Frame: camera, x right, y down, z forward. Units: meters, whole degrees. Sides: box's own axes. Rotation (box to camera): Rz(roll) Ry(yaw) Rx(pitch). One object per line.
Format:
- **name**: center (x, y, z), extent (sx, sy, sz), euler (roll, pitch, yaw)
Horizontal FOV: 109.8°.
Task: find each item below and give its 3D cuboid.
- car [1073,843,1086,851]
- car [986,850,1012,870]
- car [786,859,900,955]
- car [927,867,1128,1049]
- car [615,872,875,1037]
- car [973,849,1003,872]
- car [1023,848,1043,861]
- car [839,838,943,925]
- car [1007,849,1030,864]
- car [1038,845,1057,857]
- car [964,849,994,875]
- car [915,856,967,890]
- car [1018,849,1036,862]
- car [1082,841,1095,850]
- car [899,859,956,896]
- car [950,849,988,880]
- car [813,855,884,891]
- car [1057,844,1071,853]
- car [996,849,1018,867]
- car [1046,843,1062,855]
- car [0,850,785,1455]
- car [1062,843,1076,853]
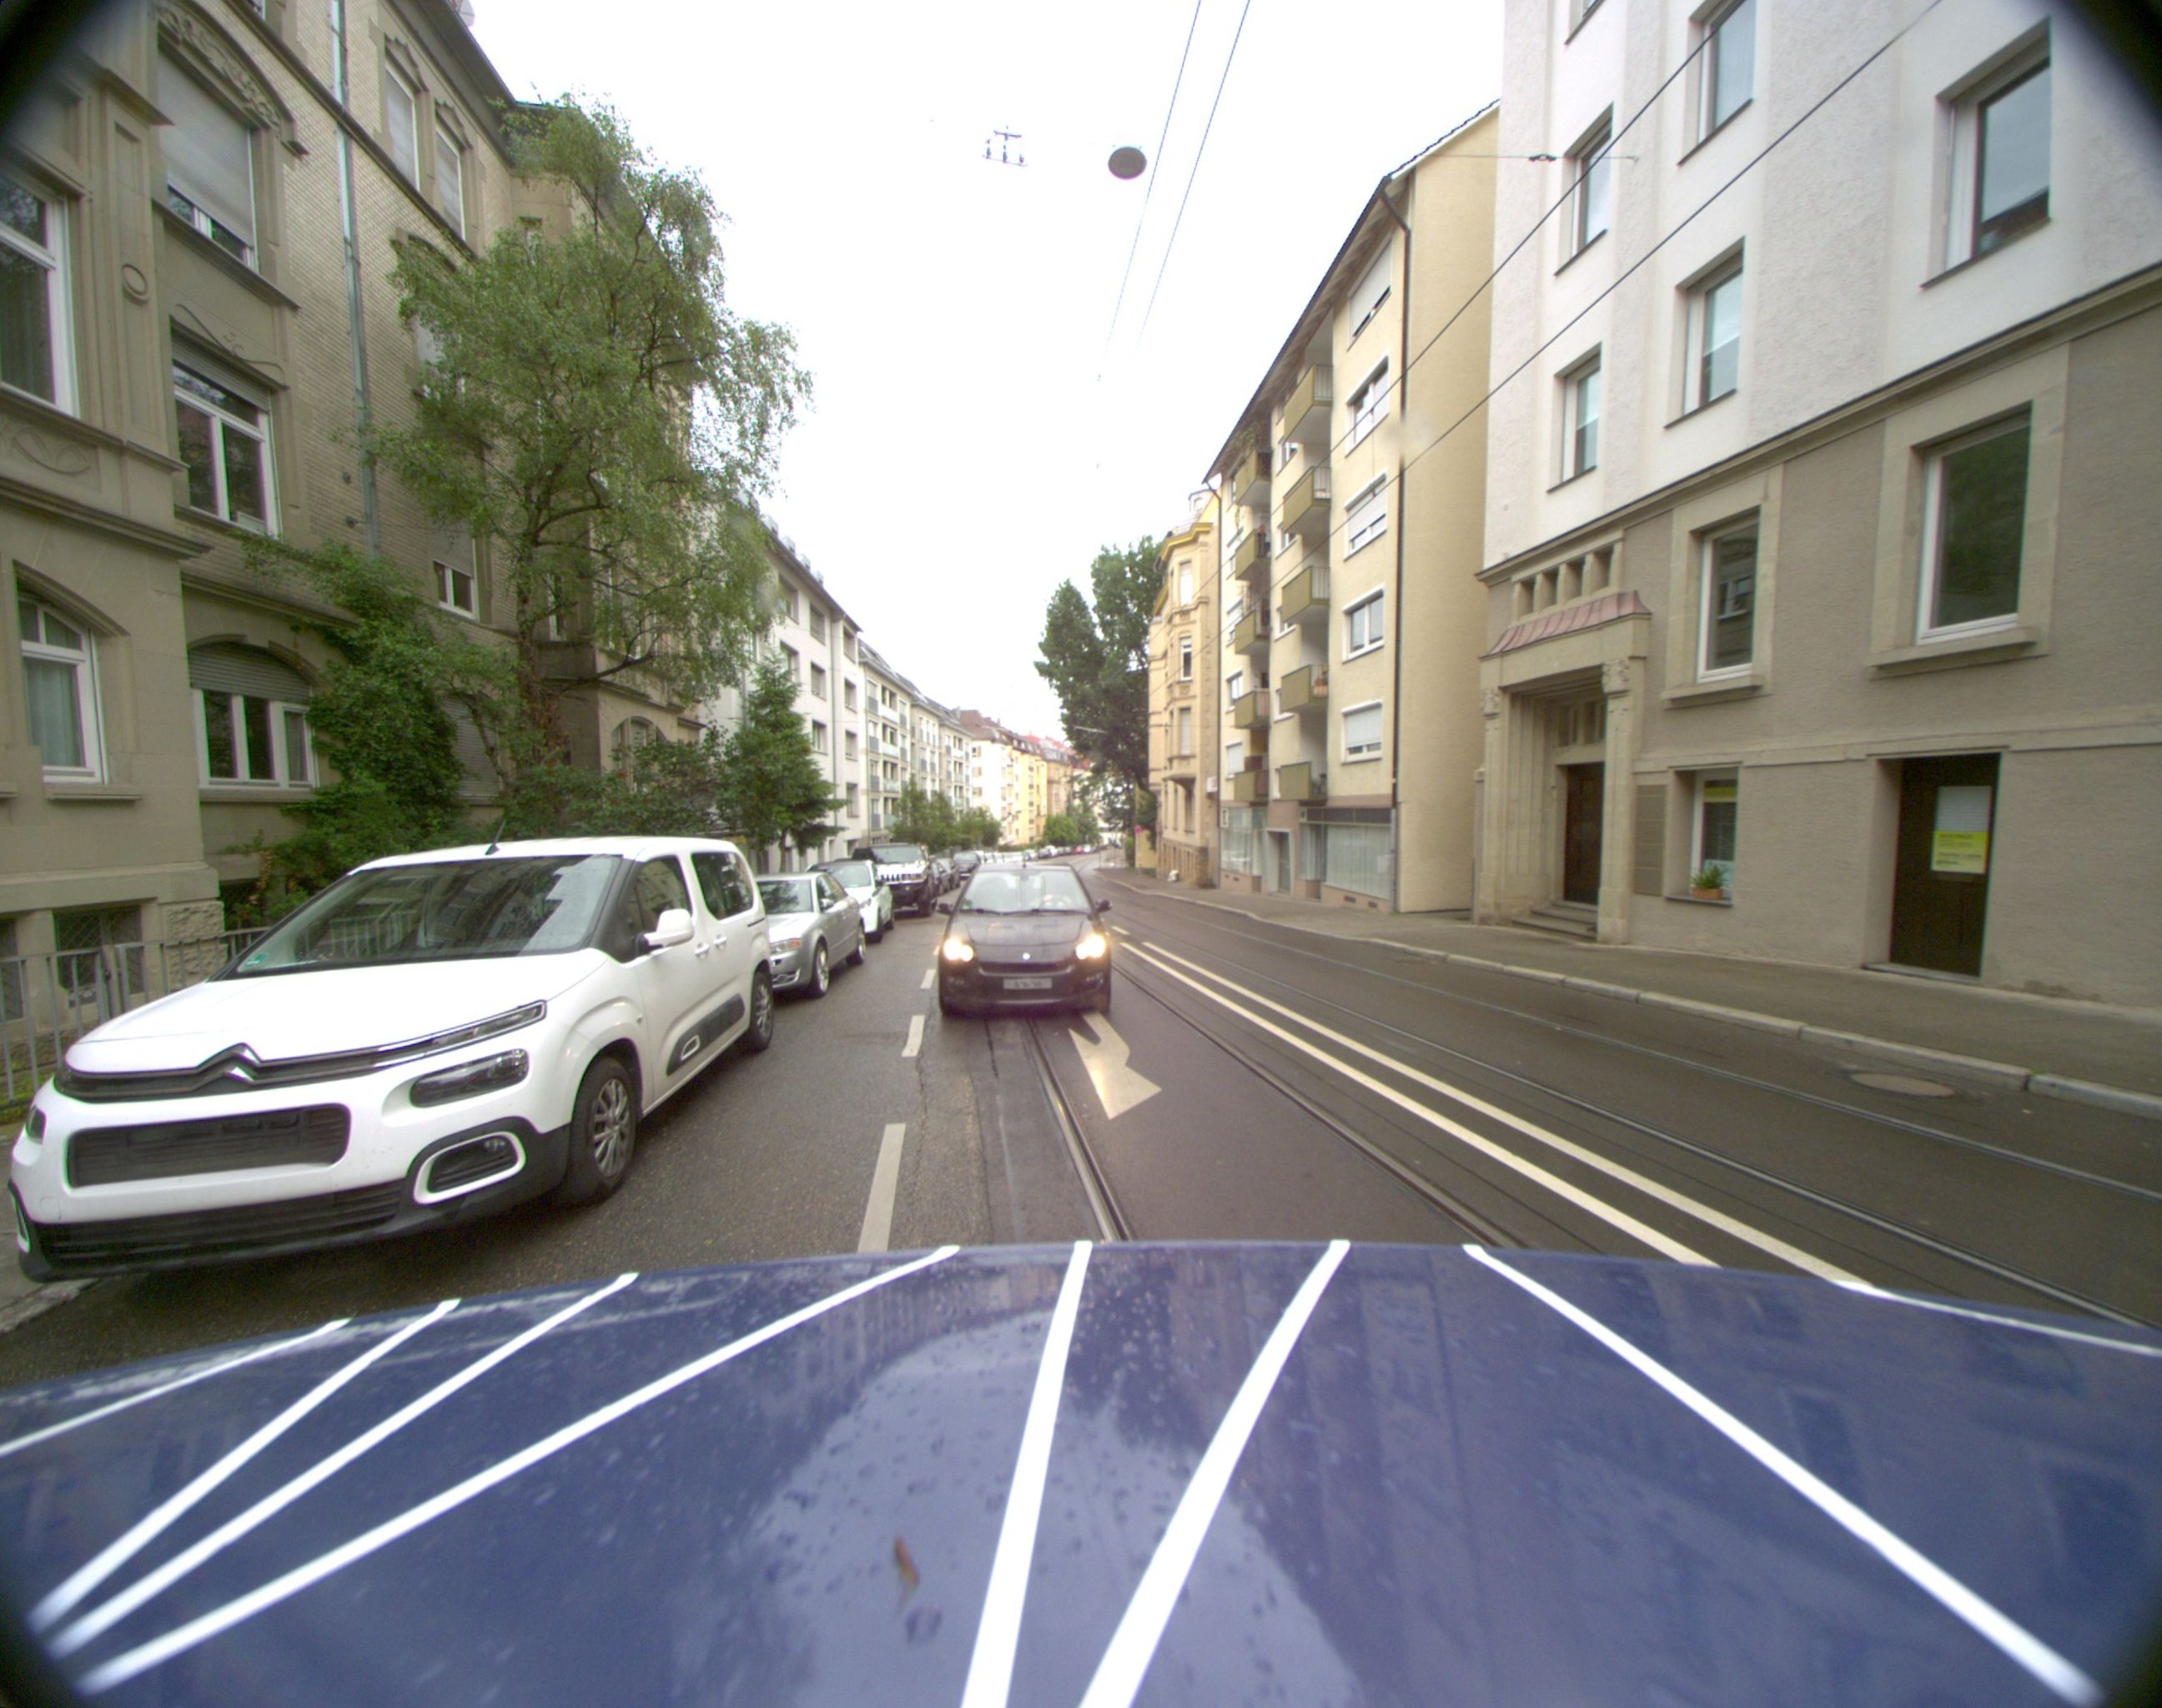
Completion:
- **car**: center (-0.205, -1.241, 131.032), extent (1.556, 1.360, 3.126), euler (-1, 2, 13)
- **car**: center (-7.122, 0.462, 66.363), extent (1.837, 1.618, 4.662), euler (-1, 1, -2)
- **car**: center (-4.575, 0.932, 15.083), extent (1.565, 1.537, 3.581), euler (-3, 1, -9)
- **car**: center (-0.692, 0.934, 8.635), extent (1.740, 1.445, 3.997), euler (-1, 0, -7)
- **car**: center (-3.912, 1.040, 9.759), extent (1.754, 1.392, 4.475), euler (-3, 1, -7)
- **car**: center (-7.405, 0.496, 60.766), extent (1.837, 1.647, 4.685), euler (-1, 1, -1)
- **car**: center (-5.931, 0.041, 93.660), extent (1.721, 1.459, 4.391), euler (-1, 1, 6)
- **car**: center (-5.074, 0.648, 21.052), extent (2.135, 2.002, 5.346), euler (-3, 1, -8)
- **car**: center (-6.643, 0.242, 81.559), extent (1.862, 1.507, 4.789), euler (-1, 1, 2)
- **car**: center (-4.570, -0.439, 104.566), extent (1.797, 1.444, 4.104), euler (-2, 2, 9)
- **car**: center (-7.327, 0.533, 54.860), extent (1.783, 1.785, 4.469), euler (-1, 1, -3)
- **car**: center (-6.535, 0.834, 35.845), extent (1.799, 1.429, 4.609), euler (-2, 1, -3)
- **car**: center (-6.328, 0.148, 88.674), extent (1.600, 1.416, 3.515), euler (-1, 1, 4)
- **car**: center (1.347, -1.564, 139.841), extent (1.612, 1.434, 3.690), euler (-1, 2, 13)
- **car**: center (-6.215, 0.909, 31.119), extent (1.683, 1.330, 3.881), euler (-2, 1, -3)
- **car**: center (-7.157, 0.605, 49.049), extent (1.948, 1.785, 4.818), euler (-2, 1, -4)
- **car**: center (-10.796, 0.840, 35.597), extent (1.817, 1.418, 4.153), euler (-3, 1, 2)
- **car**: center (-2.656, -0.867, 118.755), extent (1.590, 1.434, 3.477), euler (-2, 2, 6)
- **car**: center (-7.022, 0.388, 71.938), extent (1.981, 1.576, 4.563), euler (-1, 1, -5)
- **car**: center (-3.901, -0.681, 109.648), extent (1.798, 1.613, 3.868), euler (-2, 2, 6)
- **car**: center (-3.277, 0.895, 4.511), extent (1.803, 1.755, 4.459), euler (-3, 1, -9)
- **car**: center (-1.896, -0.997, 123.859), extent (1.658, 1.360, 3.637), euler (-2, 2, 8)
